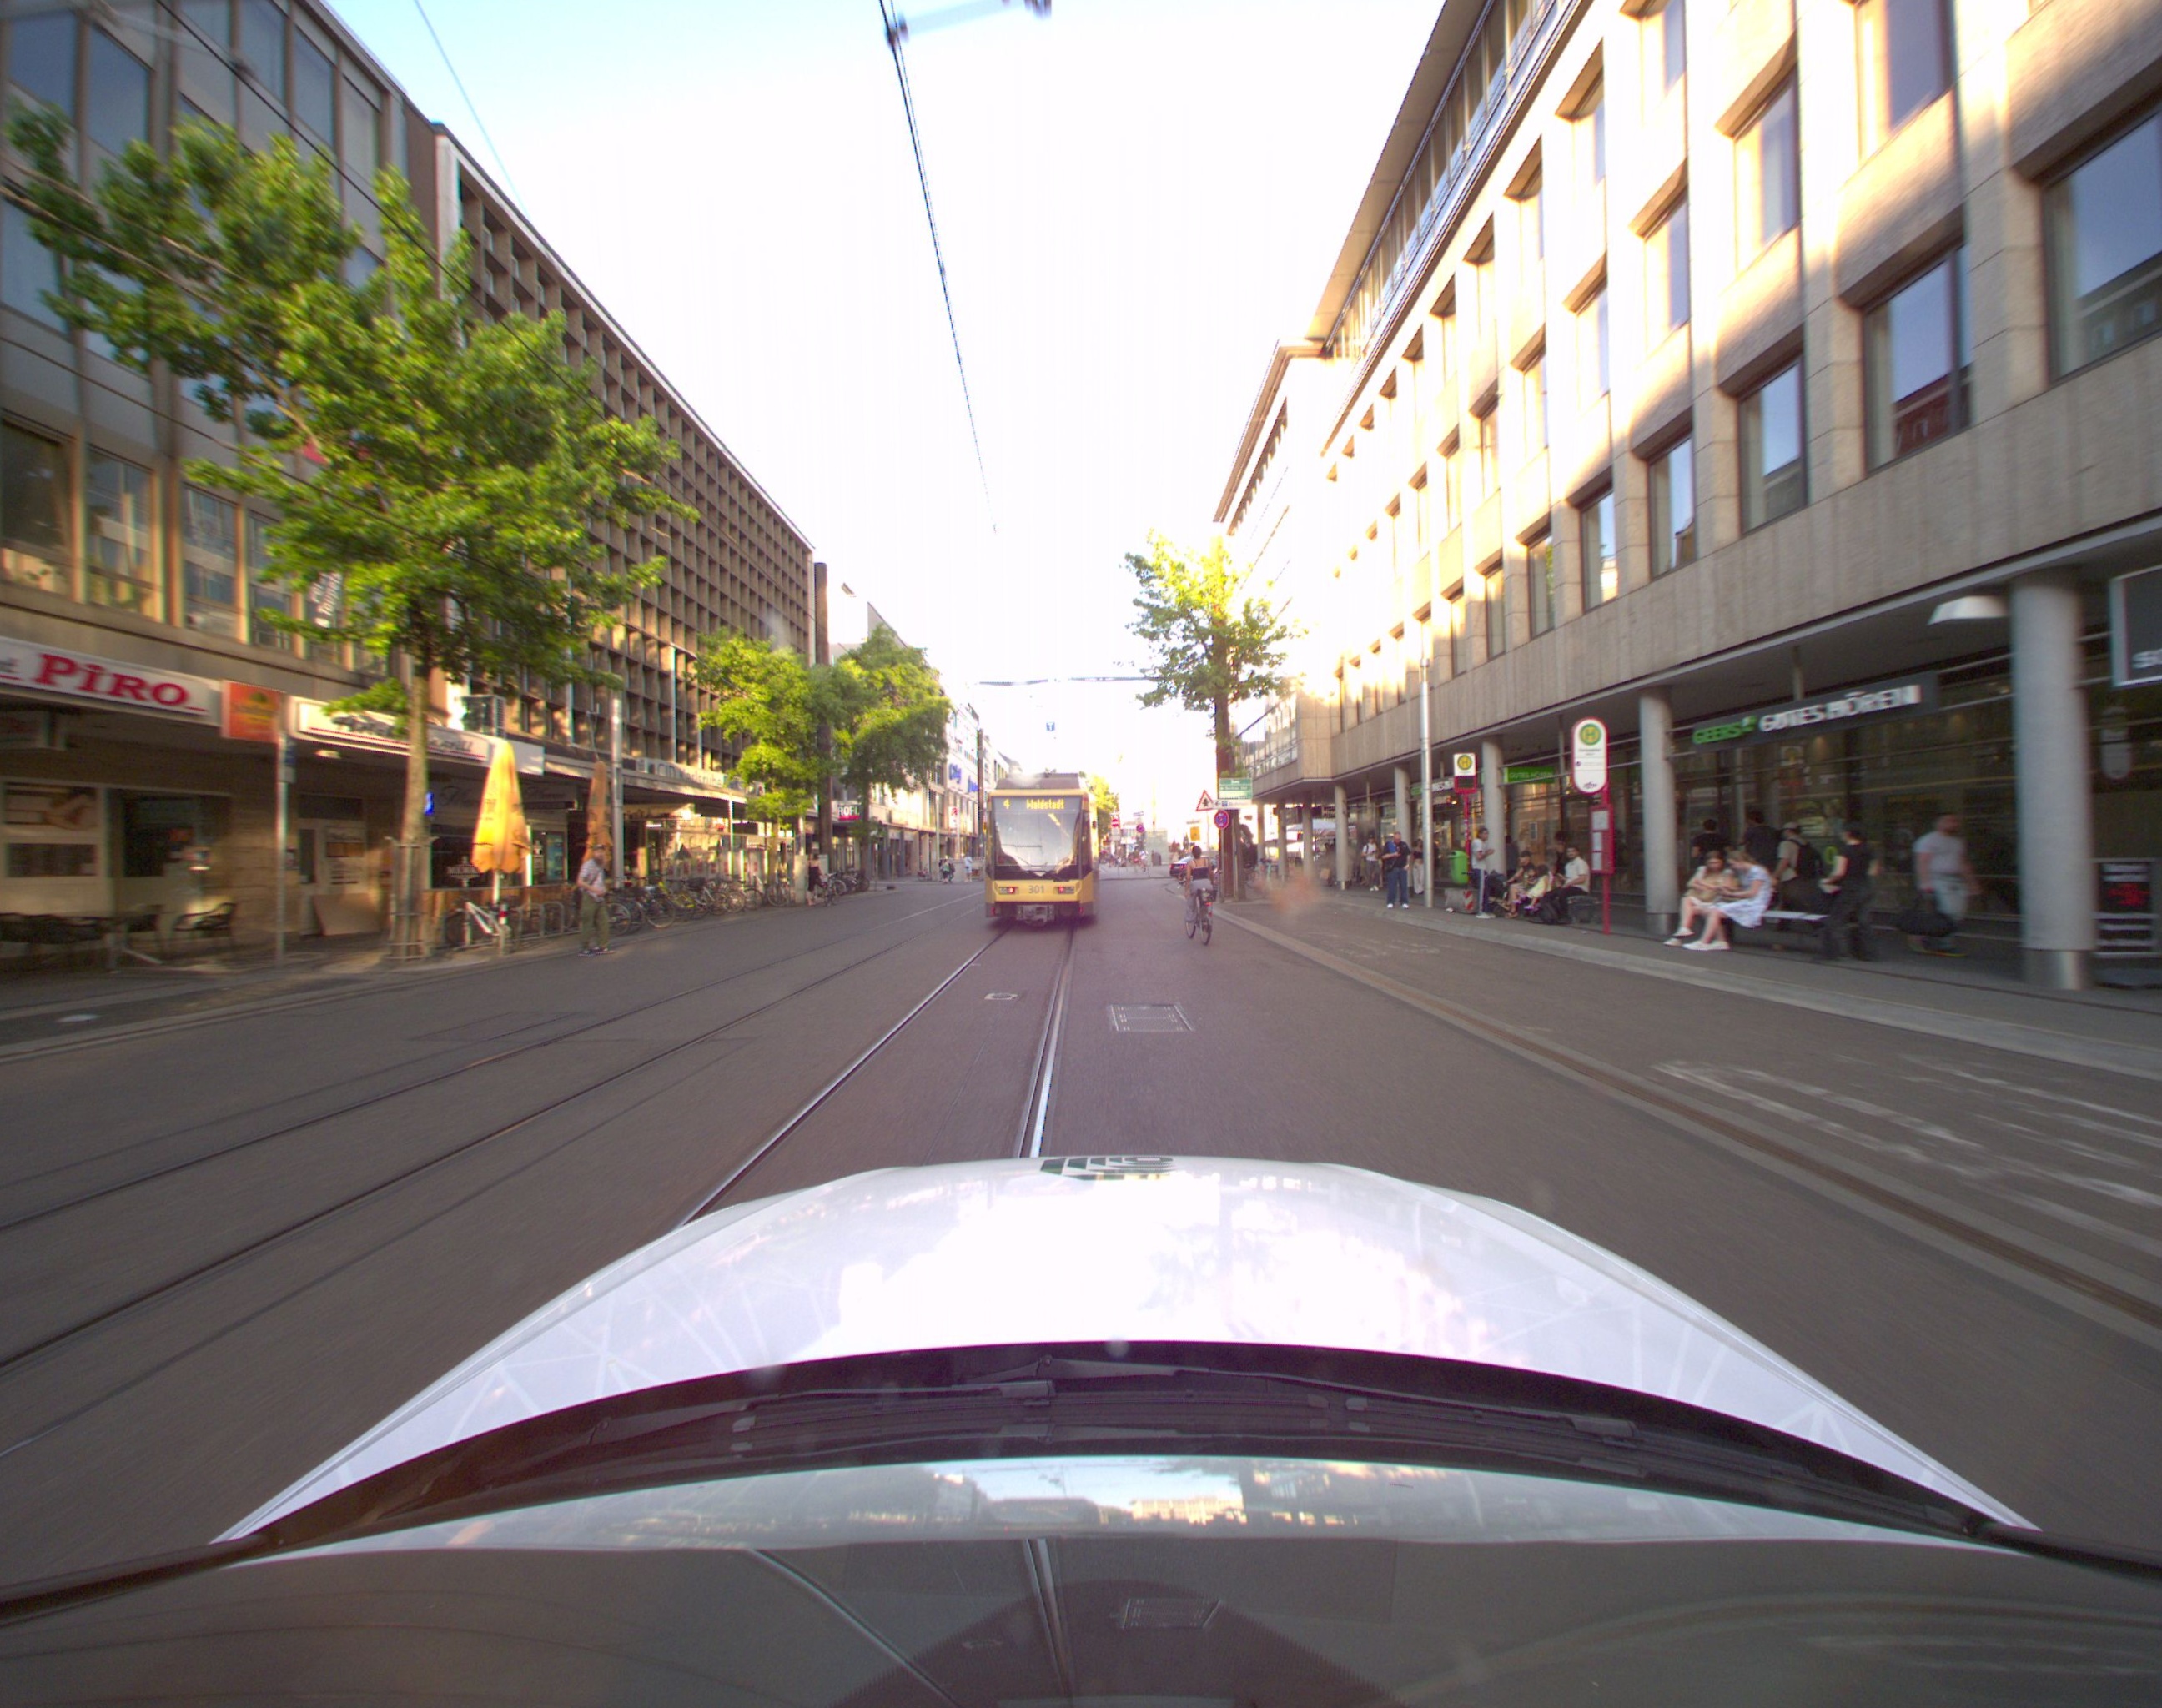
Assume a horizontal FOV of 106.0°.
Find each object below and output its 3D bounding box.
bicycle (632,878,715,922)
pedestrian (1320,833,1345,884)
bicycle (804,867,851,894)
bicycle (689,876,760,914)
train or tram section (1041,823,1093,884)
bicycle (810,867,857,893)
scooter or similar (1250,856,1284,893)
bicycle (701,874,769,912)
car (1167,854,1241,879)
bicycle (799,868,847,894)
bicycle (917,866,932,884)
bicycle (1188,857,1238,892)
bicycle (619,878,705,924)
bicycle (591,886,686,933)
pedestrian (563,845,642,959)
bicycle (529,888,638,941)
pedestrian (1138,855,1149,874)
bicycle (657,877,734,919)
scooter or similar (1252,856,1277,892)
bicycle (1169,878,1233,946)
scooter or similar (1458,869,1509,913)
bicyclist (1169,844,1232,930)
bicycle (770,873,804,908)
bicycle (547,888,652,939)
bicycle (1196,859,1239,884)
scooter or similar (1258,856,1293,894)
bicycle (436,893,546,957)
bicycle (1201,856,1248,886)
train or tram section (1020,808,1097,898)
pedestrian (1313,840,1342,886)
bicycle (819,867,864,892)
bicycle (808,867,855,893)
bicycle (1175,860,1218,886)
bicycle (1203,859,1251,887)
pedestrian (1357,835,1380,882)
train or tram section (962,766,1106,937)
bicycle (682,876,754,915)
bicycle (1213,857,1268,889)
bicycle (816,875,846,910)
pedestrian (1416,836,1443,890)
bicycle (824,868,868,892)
[{"bbox_3d":[-10.175,1.140,20.353,1.769,1.071,0.488,1,0,-6],"label":"bicycle"},{"bbox_3d":[10.203,0.199,33.046,0.684,2.014,0.783,-2,-1,1],"label":"pedestrian"},{"bbox_3d":[-10.288,1.079,33.074,1.766,1.045,0.489,0,0,0],"label":"bicycle"},{"bbox_3d":[-10.211,1.171,23.359,1.769,1.071,0.488,1,0,-6],"label":"bicycle"},{"bbox_3d":[-0.733,-0.002,52.459,2.791,3.319,14.506,-1,0,0],"label":"train or tram section"},{"bbox_3d":[-10.298,1.088,33.895,1.766,1.045,0.489,0,0,0],"label":"bicycle"},{"bbox_3d":[6.721,0.735,29.437,1.194,1.251,0.389,-3,0,-29],"label":"scooter or similar"},{"bbox_3d":[-10.193,1.151,24.012,1.769,1.071,0.488,1,0,-6],"label":"bicycle"},{"bbox_3d":[7.313,0.733,48.468,4.057,1.409,1.761,0,-2,-24],"label":"car"},{"bbox_3d":[-10.297,1.073,32.503,1.766,1.045,0.489,0,0,0],"label":"bicycle"},{"bbox_3d":[-10.912,1.454,56.770,0.496,1.107,1.803,-1,1,6],"label":"bicycle"},{"bbox_3d":[5.501,0.846,34.003,1.911,1.333,0.724,-3,0,-5],"label":"bicycle"},{"bbox_3d":[-10.162,1.134,19.776,1.769,1.071,0.488,1,0,-6],"label":"bicycle"},{"bbox_3d":[-9.696,1.201,17.886,1.769,0.990,0.488,0,1,-6],"label":"bicycle"},{"bbox_3d":[-7.876,0.763,13.412,0.978,1.793,0.827,0,-1,41],"label":"pedestrian"},{"bbox_3d":[-9.717,1.181,15.945,1.769,0.990,0.488,0,1,-6],"label":"bicycle"},{"bbox_3d":[5.902,0.977,76.626,0.734,1.823,0.816,-1,-1,-14],"label":"pedestrian"},{"bbox_3d":[-10.210,1.153,21.594,1.769,1.071,0.488,1,0,-6],"label":"bicycle"},{"bbox_3d":[6.781,0.724,30.045,0.388,1.251,1.199,-2,0,39],"label":"scooter or similar"},{"bbox_3d":[2.128,0.996,14.661,0.812,1.073,2.112,0,0,-1],"label":"bicycle"},{"bbox_3d":[8.438,0.765,17.096,0.827,0.884,0.689,0,-1,14],"label":"scooter or similar"},{"bbox_3d":[2.118,0.573,14.594,0.994,1.502,0.857,0,0,-1],"label":"bicyclist"},{"bbox_3d":[-9.480,1.164,26.304,0.486,1.045,1.776,-1,0,-2],"label":"bicycle"},{"bbox_3d":[-9.719,1.187,16.474,1.769,0.990,0.488,0,1,-6],"label":"bicycle"},{"bbox_3d":[6.421,0.825,38.335,1.848,1.109,0.666,-3,0,-2],"label":"bicycle"},{"bbox_3d":[6.820,0.737,28.570,1.119,1.251,0.492,-3,0,-30],"label":"scooter or similar"},{"bbox_3d":[-9.753,1.155,13.463,1.758,0.966,0.491,1,-1,17],"label":"bicycle"},{"bbox_3d":[6.477,0.752,36.758,1.911,1.222,0.762,-3,0,-5],"label":"bicycle"},{"bbox_3d":[-0.809,-0.024,37.915,2.791,3.319,14.506,-1,0,0],"label":"train or tram section"},{"bbox_3d":[9.395,0.351,31.071,0.760,1.719,0.924,-2,-1,2],"label":"pedestrian"},{"bbox_3d":[-10.285,1.098,34.956,1.766,1.045,0.489,0,0,0],"label":"bicycle"},{"bbox_3d":[-10.304,1.085,33.653,1.766,1.045,0.489,0,0,0],"label":"bicycle"},{"bbox_3d":[5.413,0.884,38.115,1.848,1.109,0.666,-3,0,-2],"label":"bicycle"},{"bbox_3d":[6.468,0.828,36.011,1.911,1.078,0.762,-3,0,-5],"label":"bicycle"},{"bbox_3d":[11.580,0.195,32.835,0.659,1.848,0.720,-2,-1,6],"label":"pedestrian"},{"bbox_3d":[-0.892,-0.042,23.390,2.791,3.319,14.506,-1,0,0],"label":"train or tram section"},{"bbox_3d":[-10.163,1.165,22.814,1.769,1.071,0.488,1,0,-6],"label":"bicycle"},{"bbox_3d":[6.472,0.779,33.075,1.992,1.155,0.724,-3,0,-5],"label":"bicycle"},{"bbox_3d":[-8.111,1.232,26.494,0.486,1.045,1.776,-1,0,-2],"label":"bicycle"},{"bbox_3d":[11.537,0.302,26.985,0.568,1.731,0.617,-2,-1,-1],"label":"pedestrian"},{"bbox_3d":[-10.242,1.140,35.537,1.766,1.045,0.489,0,0,0],"label":"bicycle"}]
